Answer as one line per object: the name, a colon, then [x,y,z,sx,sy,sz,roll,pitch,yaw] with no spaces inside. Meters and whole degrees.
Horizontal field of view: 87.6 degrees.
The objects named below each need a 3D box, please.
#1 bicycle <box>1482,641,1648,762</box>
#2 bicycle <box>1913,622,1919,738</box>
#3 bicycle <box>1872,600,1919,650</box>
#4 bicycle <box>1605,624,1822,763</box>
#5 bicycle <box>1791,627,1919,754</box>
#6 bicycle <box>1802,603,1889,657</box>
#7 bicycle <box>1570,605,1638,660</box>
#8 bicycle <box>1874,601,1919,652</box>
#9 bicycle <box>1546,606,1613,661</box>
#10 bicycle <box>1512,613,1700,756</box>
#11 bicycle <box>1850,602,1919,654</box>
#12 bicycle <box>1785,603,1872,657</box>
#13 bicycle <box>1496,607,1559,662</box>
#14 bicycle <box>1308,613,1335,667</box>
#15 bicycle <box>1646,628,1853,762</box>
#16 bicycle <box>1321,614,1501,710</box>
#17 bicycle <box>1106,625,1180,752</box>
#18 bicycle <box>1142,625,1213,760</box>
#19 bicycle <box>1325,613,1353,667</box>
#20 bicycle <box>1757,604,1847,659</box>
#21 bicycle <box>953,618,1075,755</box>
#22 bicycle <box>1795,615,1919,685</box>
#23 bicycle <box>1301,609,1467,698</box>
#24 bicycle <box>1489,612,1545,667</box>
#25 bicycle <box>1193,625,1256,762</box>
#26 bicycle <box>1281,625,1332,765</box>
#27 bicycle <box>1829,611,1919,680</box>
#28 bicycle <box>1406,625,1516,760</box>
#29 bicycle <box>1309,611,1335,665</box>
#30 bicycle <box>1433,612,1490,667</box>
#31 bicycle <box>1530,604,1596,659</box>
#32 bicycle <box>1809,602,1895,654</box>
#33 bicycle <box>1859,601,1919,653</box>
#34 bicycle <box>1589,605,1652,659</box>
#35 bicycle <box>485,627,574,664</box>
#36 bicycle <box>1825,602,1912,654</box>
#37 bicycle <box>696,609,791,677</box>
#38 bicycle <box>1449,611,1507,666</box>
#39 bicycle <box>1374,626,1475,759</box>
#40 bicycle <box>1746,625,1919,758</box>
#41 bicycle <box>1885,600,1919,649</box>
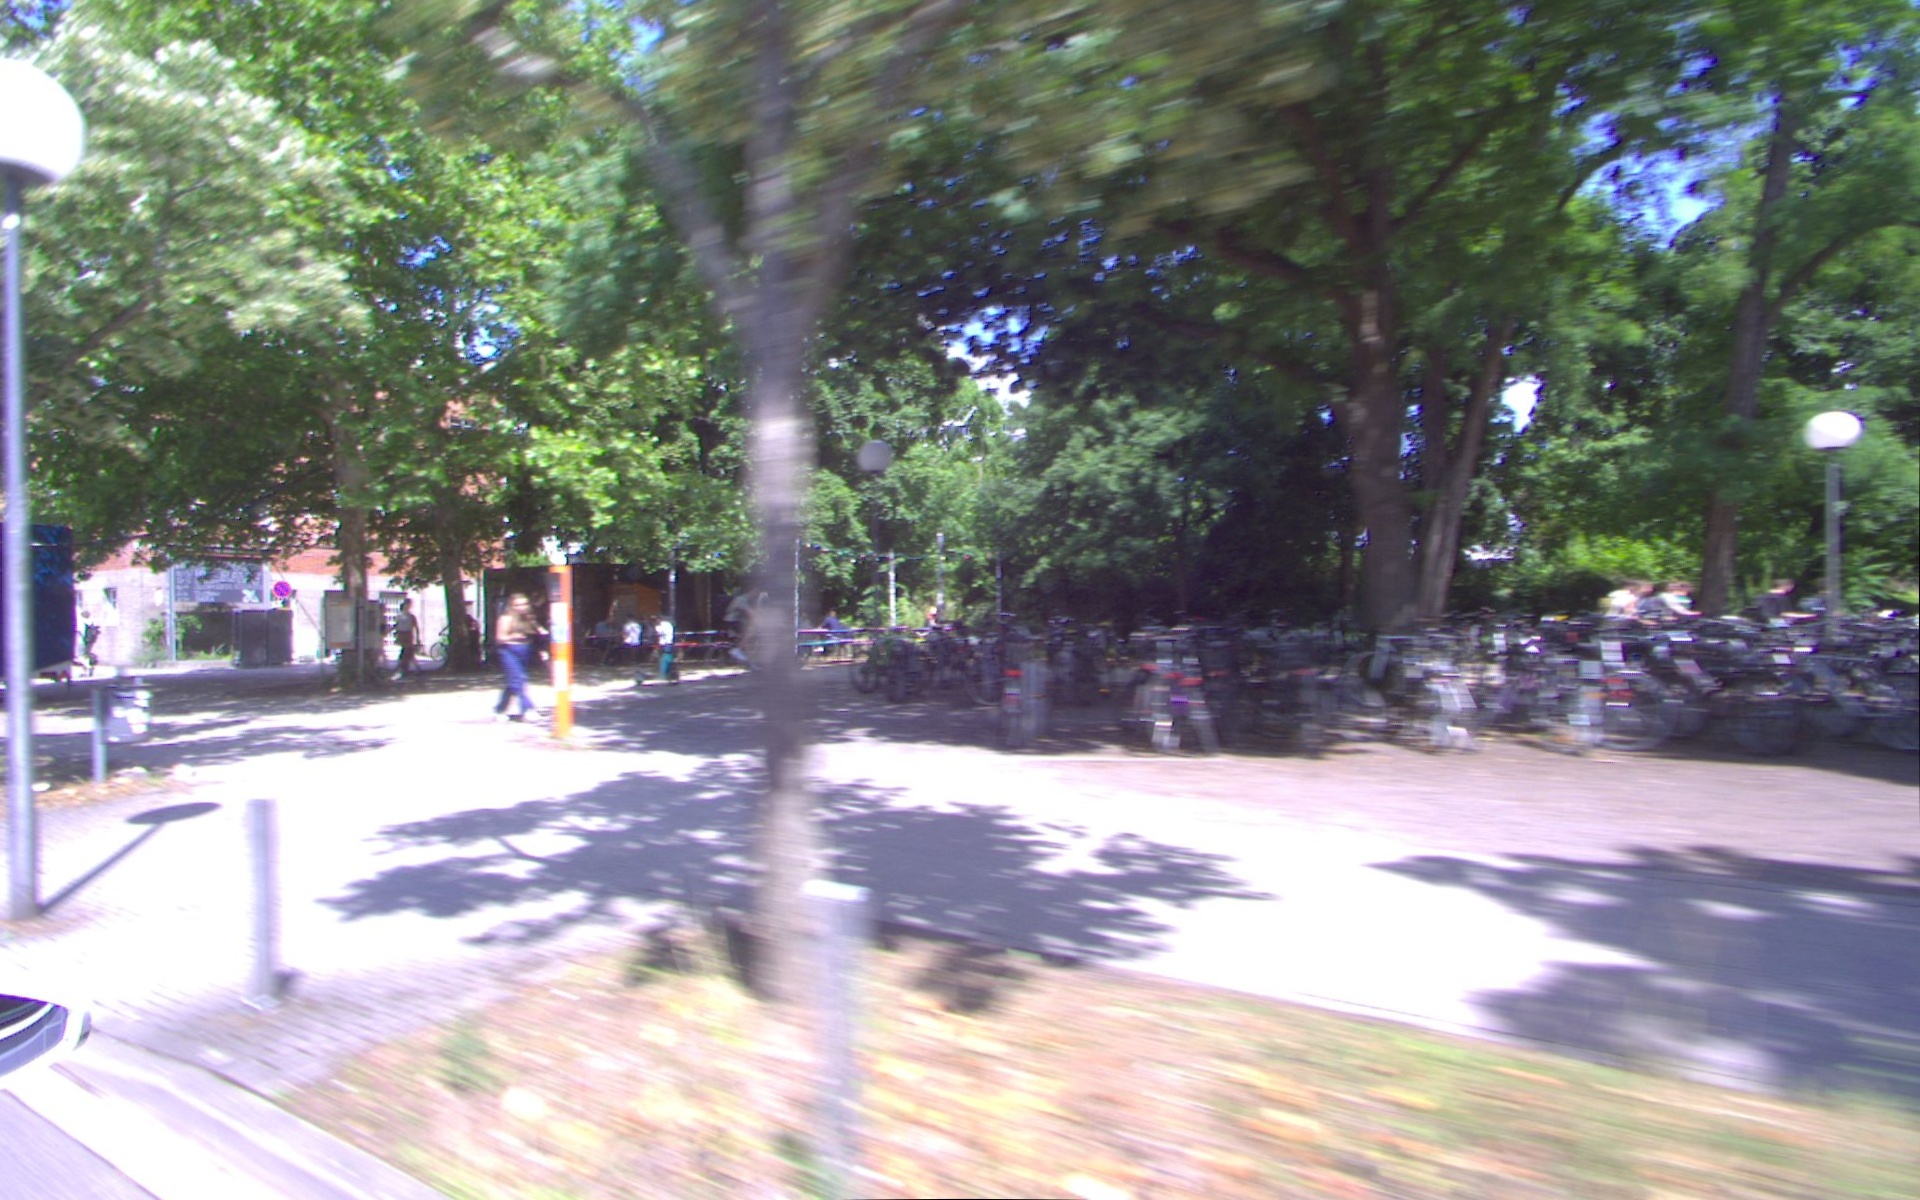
bicycle: [5.310,0.851,8.912,0.485,0.921,1.739,0,0,3]
bicycle: [9.152,0.741,8.515,0.418,1.084,1.793,0,0,2]
bicycle: [21.518,0.553,22.569,0.341,1.108,1.611,-1,0,-6]
bicycle: [6.517,0.759,8.785,0.485,1.066,1.738,0,0,-5]
bicycle: [8.222,0.774,8.785,0.374,1.042,1.793,0,0,0]
bicycle: [19.066,0.623,21.602,0.341,1.108,1.611,-1,0,-6]
bicycle: [13.747,0.672,21.410,0.469,1.108,1.611,-1,0,3]
bicycle: [21.065,0.580,22.027,0.341,1.108,1.611,-1,0,-6]
bicycle: [13.072,0.693,21.171,0.469,1.108,1.611,-1,0,3]
bicycle: [5.808,0.708,9.129,0.485,1.170,1.738,0,0,-5]
bicycle: [20.485,0.592,21.984,0.330,1.108,1.611,-1,0,-6]
bicycle: [18.688,0.630,21.586,0.341,1.108,1.611,-1,0,-6]
bicycle: [12.055,0.705,21.307,0.469,1.108,1.611,-1,0,3]
bicycle: [7.876,0.858,21.825,0.341,1.108,1.610,-1,0,13]
bicycle: [6.980,0.792,8.975,0.432,1.042,1.797,0,0,0]
bicycle: [5.318,0.733,11.886,1.868,1.097,0.478,-1,1,11]
bicycle: [1.811,0.804,9.748,0.431,1.096,1.769,0,0,20]
bicycle: [2.065,0.798,9.360,0.397,1.096,1.946,0,0,20]
bicycle: [8.220,0.855,21.734,0.341,1.108,1.610,-1,0,13]
bicycle: [17.935,0.652,21.370,0.469,1.108,1.611,-1,0,-6]
bicycle: [0.584,0.779,9.845,0.640,1.182,2.017,0,0,20]
bicycle: [13.845,0.737,15.461,0.371,0.992,1.903,-1,0,2]
bicycle: [5.350,0.677,12.723,1.868,1.097,0.478,-1,1,11]
bicycle: [11.694,0.808,21.070,0.341,1.108,1.611,-1,0,3]
bicycle: [2.466,0.794,9.223,0.397,1.096,1.946,0,0,20]
bicycle: [3.149,0.791,9.073,0.397,1.096,1.946,0,0,20]
bicycle: [14.264,0.680,15.304,0.371,0.992,1.903,-1,0,2]
bicycle: [4.541,0.784,9.183,0.319,1.073,1.913,0,0,9]
bicycle: [7.874,0.809,21.811,0.341,1.108,1.610,-1,0,13]
bicycle: [10.669,0.819,21.354,0.469,1.108,1.611,-1,0,3]
bicycle: [12.725,0.650,21.178,0.469,1.108,1.611,-1,0,3]
bicycle: [19.639,0.596,22.078,0.341,1.108,1.611,-1,0,-6]
bicycle: [20.721,0.587,22.023,0.341,1.108,1.611,-1,0,-6]
bicycle: [14.093,0.666,21.398,0.341,1.108,1.611,-1,0,3]
bicycle: [-13.097,1.380,30.497,0.775,1.085,2.383,-2,-3,43]
bicycle: [20.006,0.598,22.082,0.341,1.108,1.611,-1,0,-6]
bicycle: [-4.193,0.831,19.424,1.705,1.269,0.531,-1,1,12]
bicycle: [11.042,0.810,21.391,0.469,1.108,1.611,-1,0,3]
bicycle: [4.242,0.788,9.242,0.319,1.073,1.913,0,0,9]
bicycle: [7.871,0.755,8.884,0.374,1.042,1.793,0,0,0]
bicycle: [21.863,0.545,22.606,0.341,1.108,1.611,-1,0,-6]
